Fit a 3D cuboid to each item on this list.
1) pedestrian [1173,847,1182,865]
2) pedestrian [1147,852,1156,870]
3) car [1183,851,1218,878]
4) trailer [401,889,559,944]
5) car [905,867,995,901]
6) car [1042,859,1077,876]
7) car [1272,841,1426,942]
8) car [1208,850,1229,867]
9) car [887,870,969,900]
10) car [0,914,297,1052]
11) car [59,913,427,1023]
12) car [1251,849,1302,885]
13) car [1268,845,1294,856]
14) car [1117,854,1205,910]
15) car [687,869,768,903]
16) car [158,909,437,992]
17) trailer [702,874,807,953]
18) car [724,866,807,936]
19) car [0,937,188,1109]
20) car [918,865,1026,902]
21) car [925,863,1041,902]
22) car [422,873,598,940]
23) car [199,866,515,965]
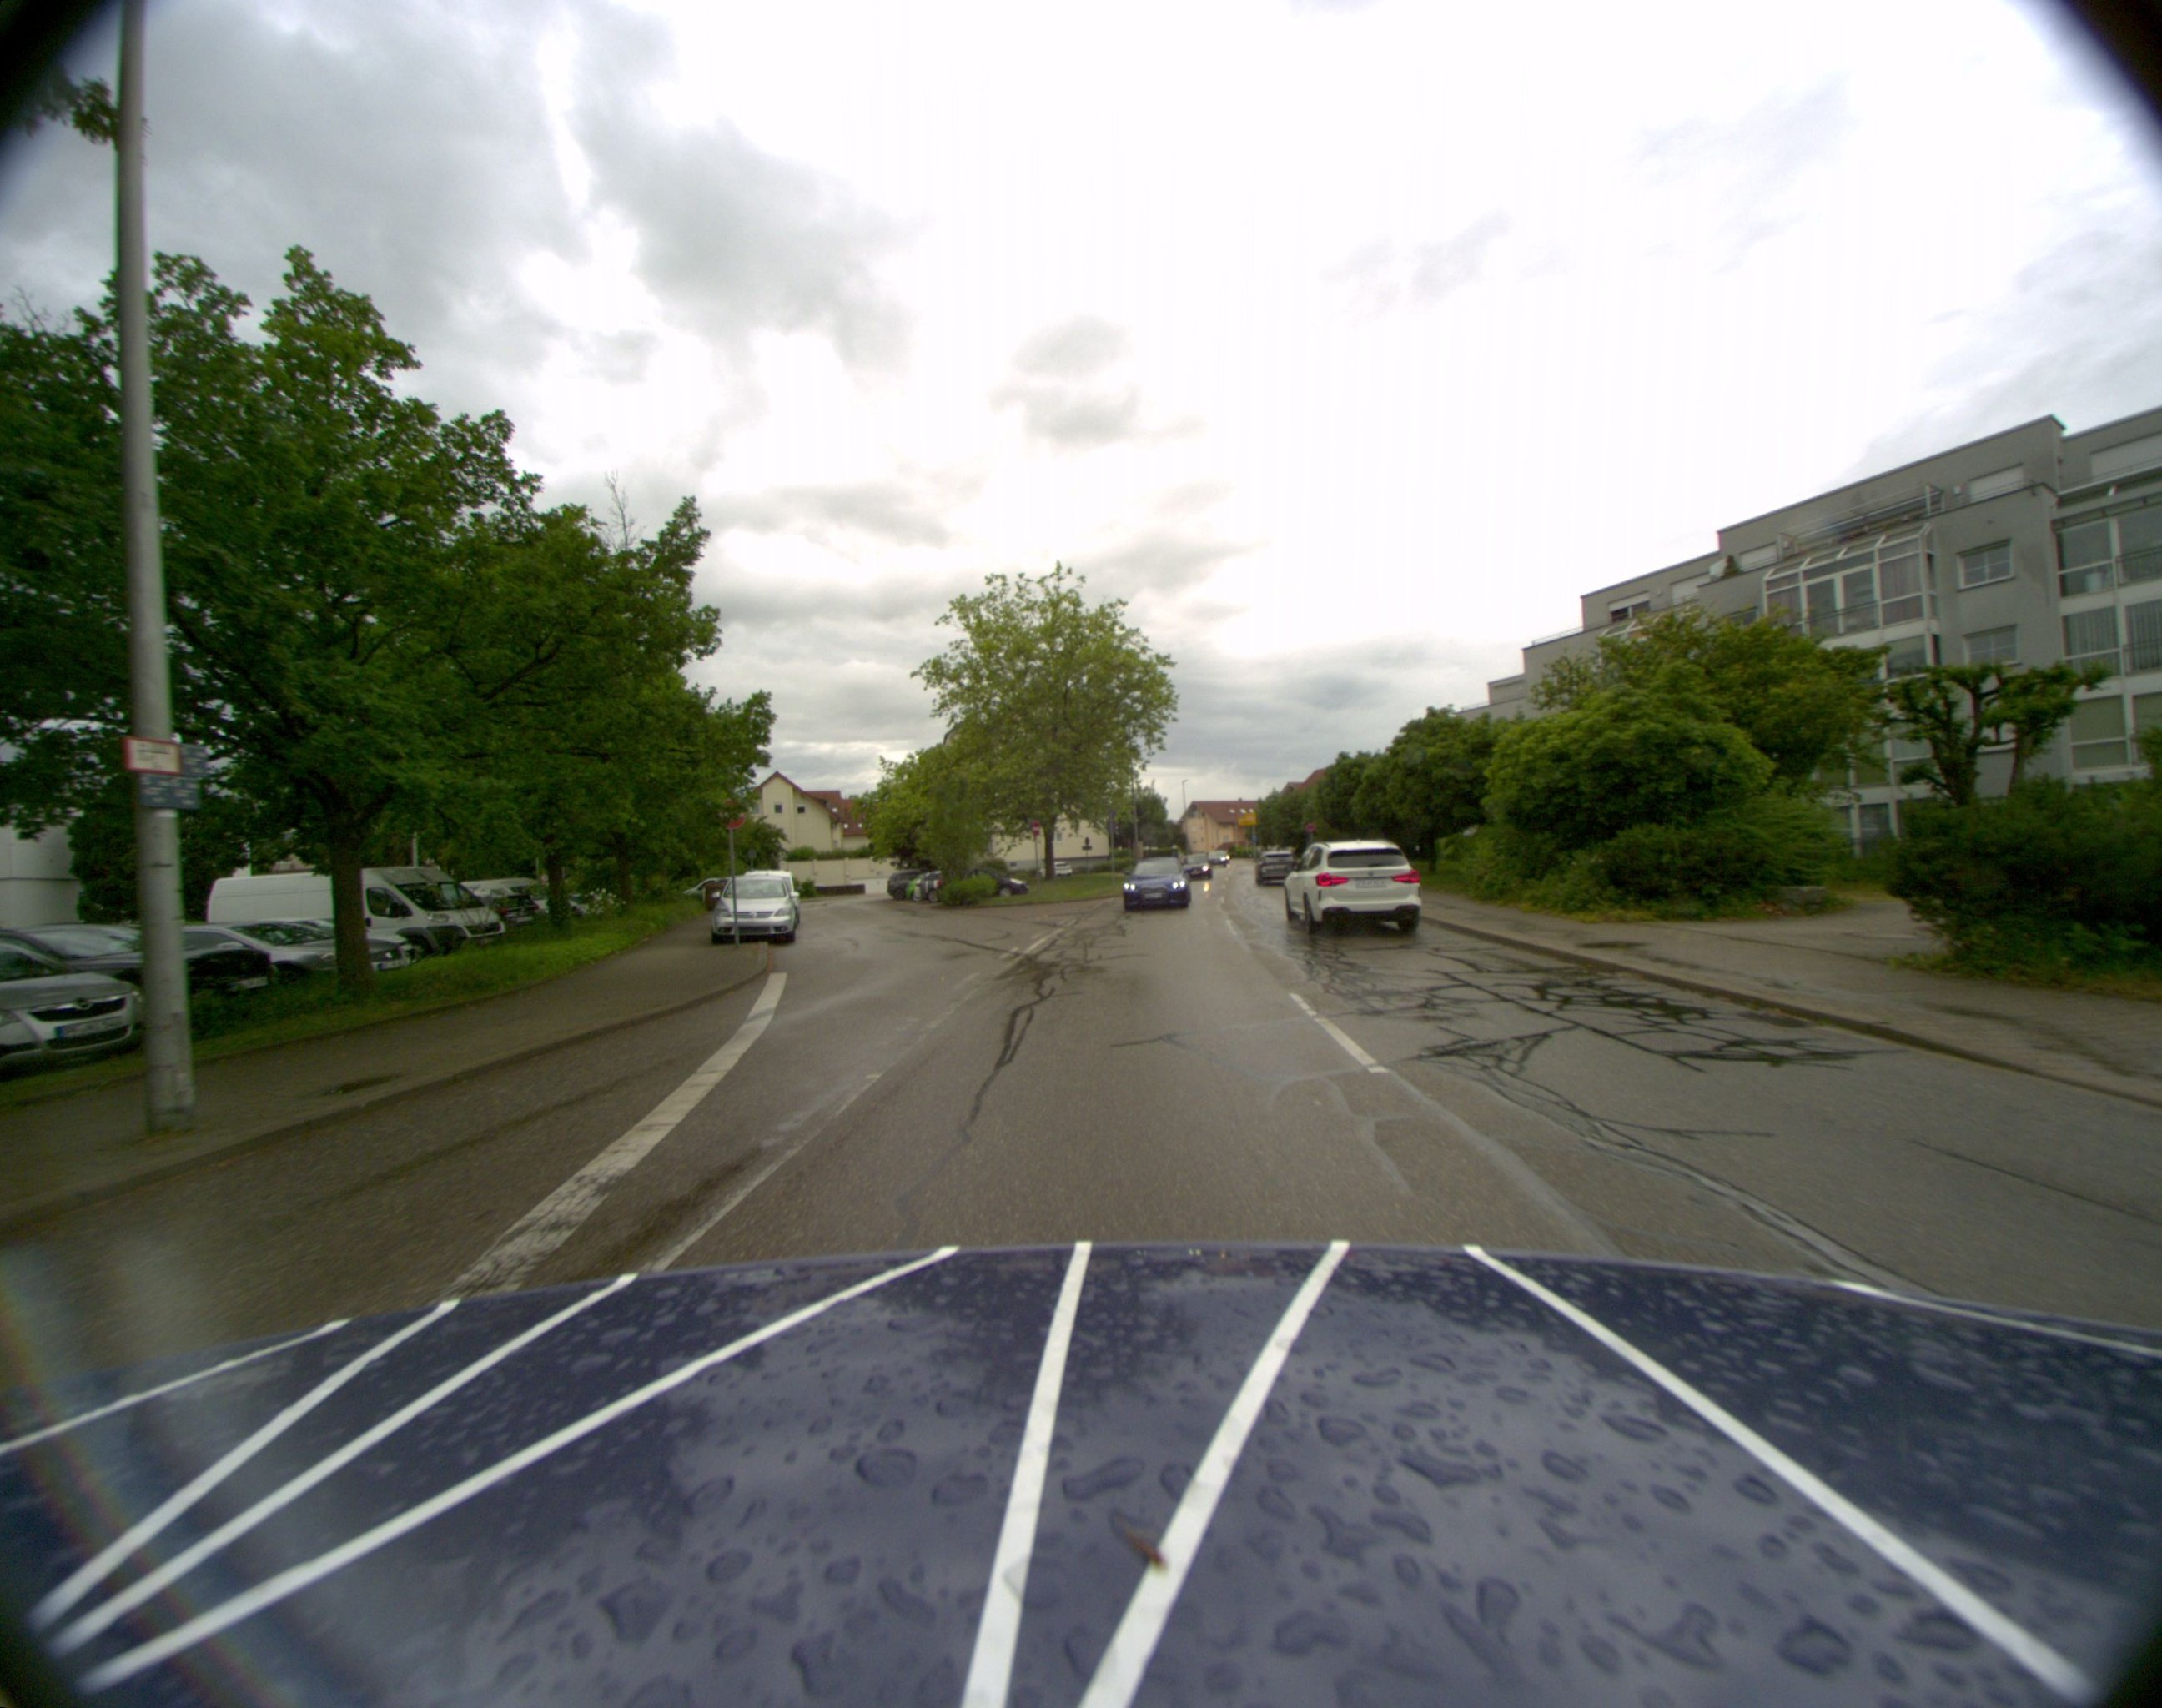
[{"bbox_3d":[9.110,0.222,71.955,0.591,1.656,0.775,-3,1,-5],"label":"pedestrian"},{"bbox_3d":[7.138,0.687,77.299,0.615,1.762,0.670,-4,0,-13],"label":"pedestrian"},{"bbox_3d":[7.243,0.583,45.664,1.839,1.440,4.003,-4,0,11],"label":"car"},{"bbox_3d":[-18.961,1.950,24.030,3.993,1.428,1.714,-3,0,13],"label":"trailer"},{"bbox_3d":[-6.543,1.487,38.169,4.018,1.434,1.765,-3,0,7],"label":"car"},{"bbox_3d":[-1.991,1.207,67.888,1.748,1.472,3.762,-3,0,-25],"label":"car"},{"bbox_3d":[5.152,0.618,15.320,1.894,1.602,4.868,-4,0,8],"label":"car"},{"bbox_3d":[13.561,0.431,74.980,1.839,1.541,4.002,-4,0,8],"label":"car"},{"bbox_3d":[-8.421,1.703,42.034,4.018,1.363,1.765,-3,0,7],"label":"car"},{"bbox_3d":[-13.594,1.742,10.368,3.657,1.477,1.759,-4,0,-7],"label":"car"},{"bbox_3d":[-14.017,1.871,12.943,4.041,1.329,1.733,-4,0,-5],"label":"car"},{"bbox_3d":[8.539,0.520,33.485,1.744,1.406,4.145,-3,0,9],"label":"car"},{"bbox_3d":[32.552,-0.523,123.474,1.740,1.592,3.991,-3,0,-29],"label":"car"},{"bbox_3d":[2.548,0.797,23.111,1.911,1.425,4.305,-2,1,16],"label":"car"},{"bbox_3d":[-25.045,2.247,54.053,5.001,2.002,2.083,-3,0,-21],"label":"car"},{"bbox_3d":[-16.436,1.995,16.088,3.996,1.288,1.852,-3,0,2],"label":"car"},{"bbox_3d":[-7.814,1.313,18.370,2.002,1.534,4.418,-3,0,-22],"label":"trailer"},{"bbox_3d":[-9.828,1.385,23.984,2.001,1.870,4.206,-4,0,-18],"label":"car"},{"bbox_3d":[-12.170,1.807,7.901,3.654,1.477,1.760,-4,0,1],"label":"car"},{"bbox_3d":[-5.026,1.342,35.265,4.582,1.434,1.765,-3,0,7],"label":"car"},{"bbox_3d":[-4.170,1.204,32.601,4.582,1.434,1.765,-3,0,7],"label":"car"},{"bbox_3d":[-20.000,1.824,26.726,4.760,2.002,2.001,-3,0,5],"label":"car"},{"bbox_3d":[-17.557,1.450,18.638,5.834,2.002,2.000,-3,0,2],"label":"car"}]
